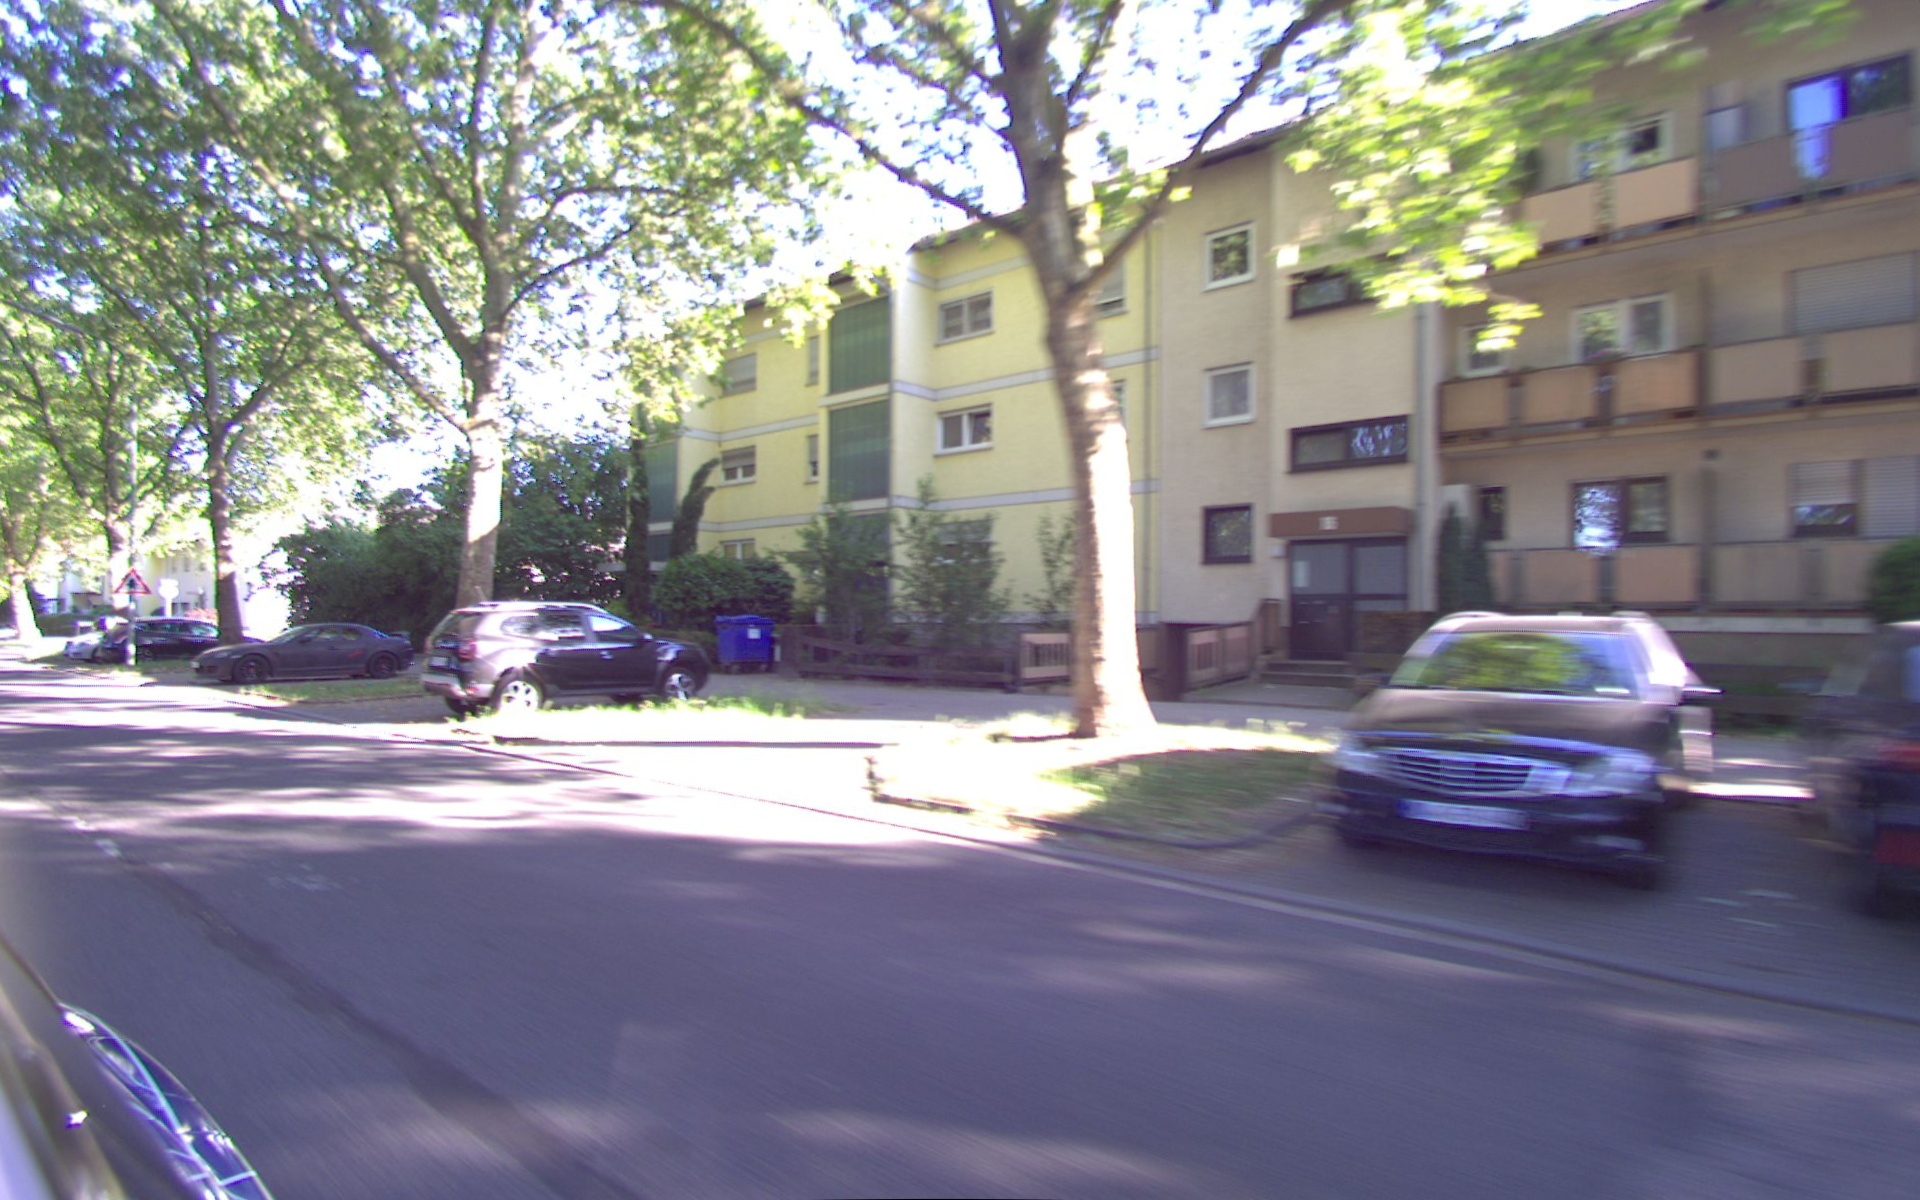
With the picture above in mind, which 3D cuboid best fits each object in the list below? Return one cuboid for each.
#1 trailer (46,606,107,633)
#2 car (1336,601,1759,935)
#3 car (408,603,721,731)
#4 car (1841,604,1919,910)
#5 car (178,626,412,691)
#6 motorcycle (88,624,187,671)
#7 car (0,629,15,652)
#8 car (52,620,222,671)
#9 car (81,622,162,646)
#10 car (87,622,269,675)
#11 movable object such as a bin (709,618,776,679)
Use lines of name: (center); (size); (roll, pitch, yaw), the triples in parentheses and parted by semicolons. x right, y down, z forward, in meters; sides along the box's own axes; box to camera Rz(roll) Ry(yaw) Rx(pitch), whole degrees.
trailer: (-73.016, 1.604, 83.645); (1.640, 1.940, 3.423); (-3, 1, 36)
car: (4.039, 0.776, 6.617); (1.779, 1.481, 3.947); (-1, -1, 39)
car: (-5.890, 0.921, 15.491); (1.669, 1.693, 4.200); (-1, -2, 40)
car: (5.815, 0.730, 5.033); (1.806, 1.435, 3.951); (-1, -1, 36)
car: (-15.258, 1.288, 23.421); (1.739, 1.363, 4.199); (-1, -2, 39)
motorcycle: (-26.140, 1.490, 32.204); (0.647, 1.399, 2.365); (-2, -1, 35)
car: (-56.811, 2.332, 57.880); (1.787, 1.326, 3.789); (-1, -1, 37)
car: (-28.007, 1.491, 34.548); (1.996, 1.596, 4.146); (-1, -1, 36)
car: (-57.303, 2.319, 69.213); (1.899, 1.475, 3.948); (-3, -2, 39)
car: (-23.971, 1.439, 31.159); (1.799, 1.518, 4.122); (-1, -2, 37)
movable object such as a bin: (-5.047, 1.116, 23.466); (0.953, 1.360, 1.173); (-1, -2, 41)
